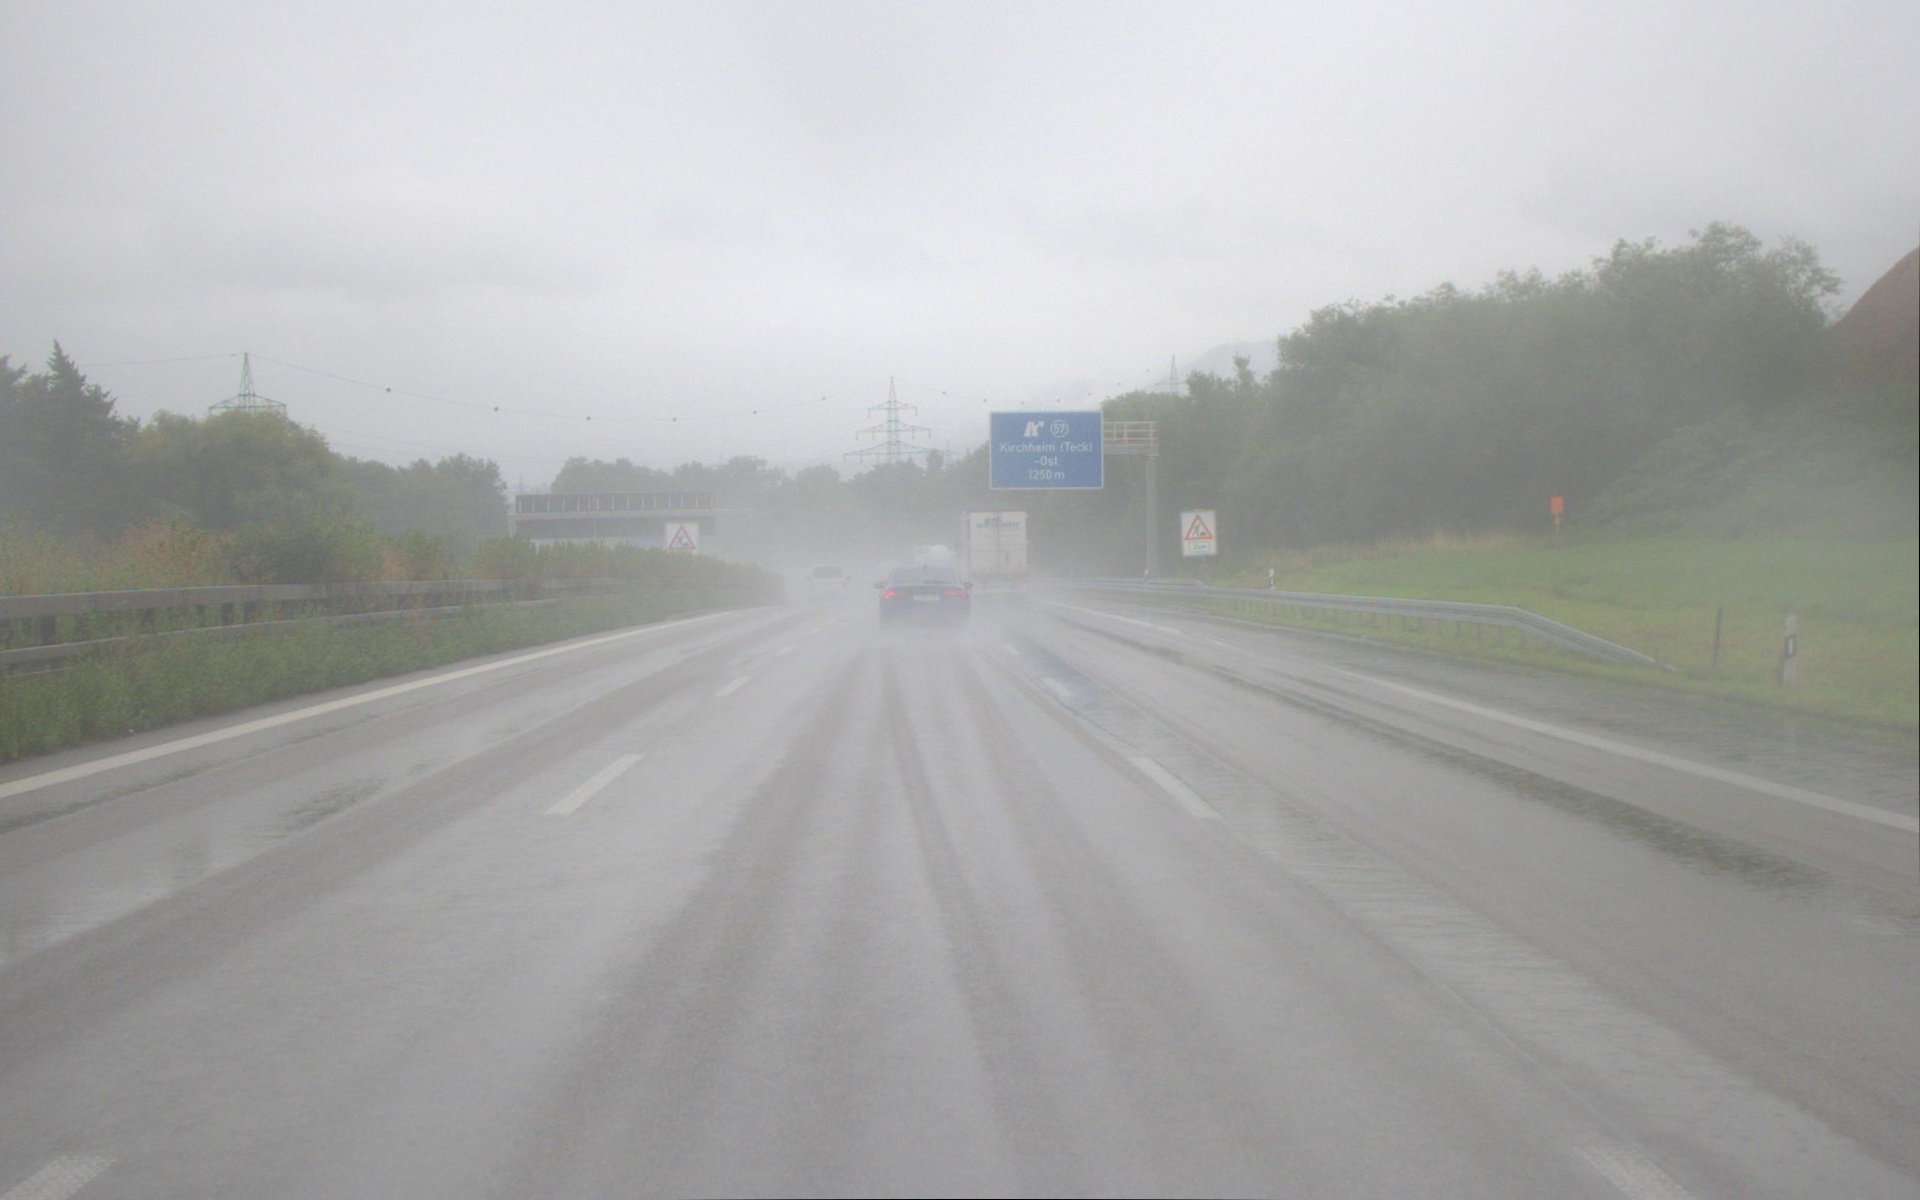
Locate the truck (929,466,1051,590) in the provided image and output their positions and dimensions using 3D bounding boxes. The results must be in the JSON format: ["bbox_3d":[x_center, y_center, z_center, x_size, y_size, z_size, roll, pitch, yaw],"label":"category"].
[{"bbox_3d":[1.194,-3.141,152.482,4.256,4.955,17.342,-3,1,-2],"label":"truck"}]

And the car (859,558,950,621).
[{"bbox_3d":[-1.123,-0.220,68.116,1.748,1.208,4.000,0,0,-2],"label":"car"}]
